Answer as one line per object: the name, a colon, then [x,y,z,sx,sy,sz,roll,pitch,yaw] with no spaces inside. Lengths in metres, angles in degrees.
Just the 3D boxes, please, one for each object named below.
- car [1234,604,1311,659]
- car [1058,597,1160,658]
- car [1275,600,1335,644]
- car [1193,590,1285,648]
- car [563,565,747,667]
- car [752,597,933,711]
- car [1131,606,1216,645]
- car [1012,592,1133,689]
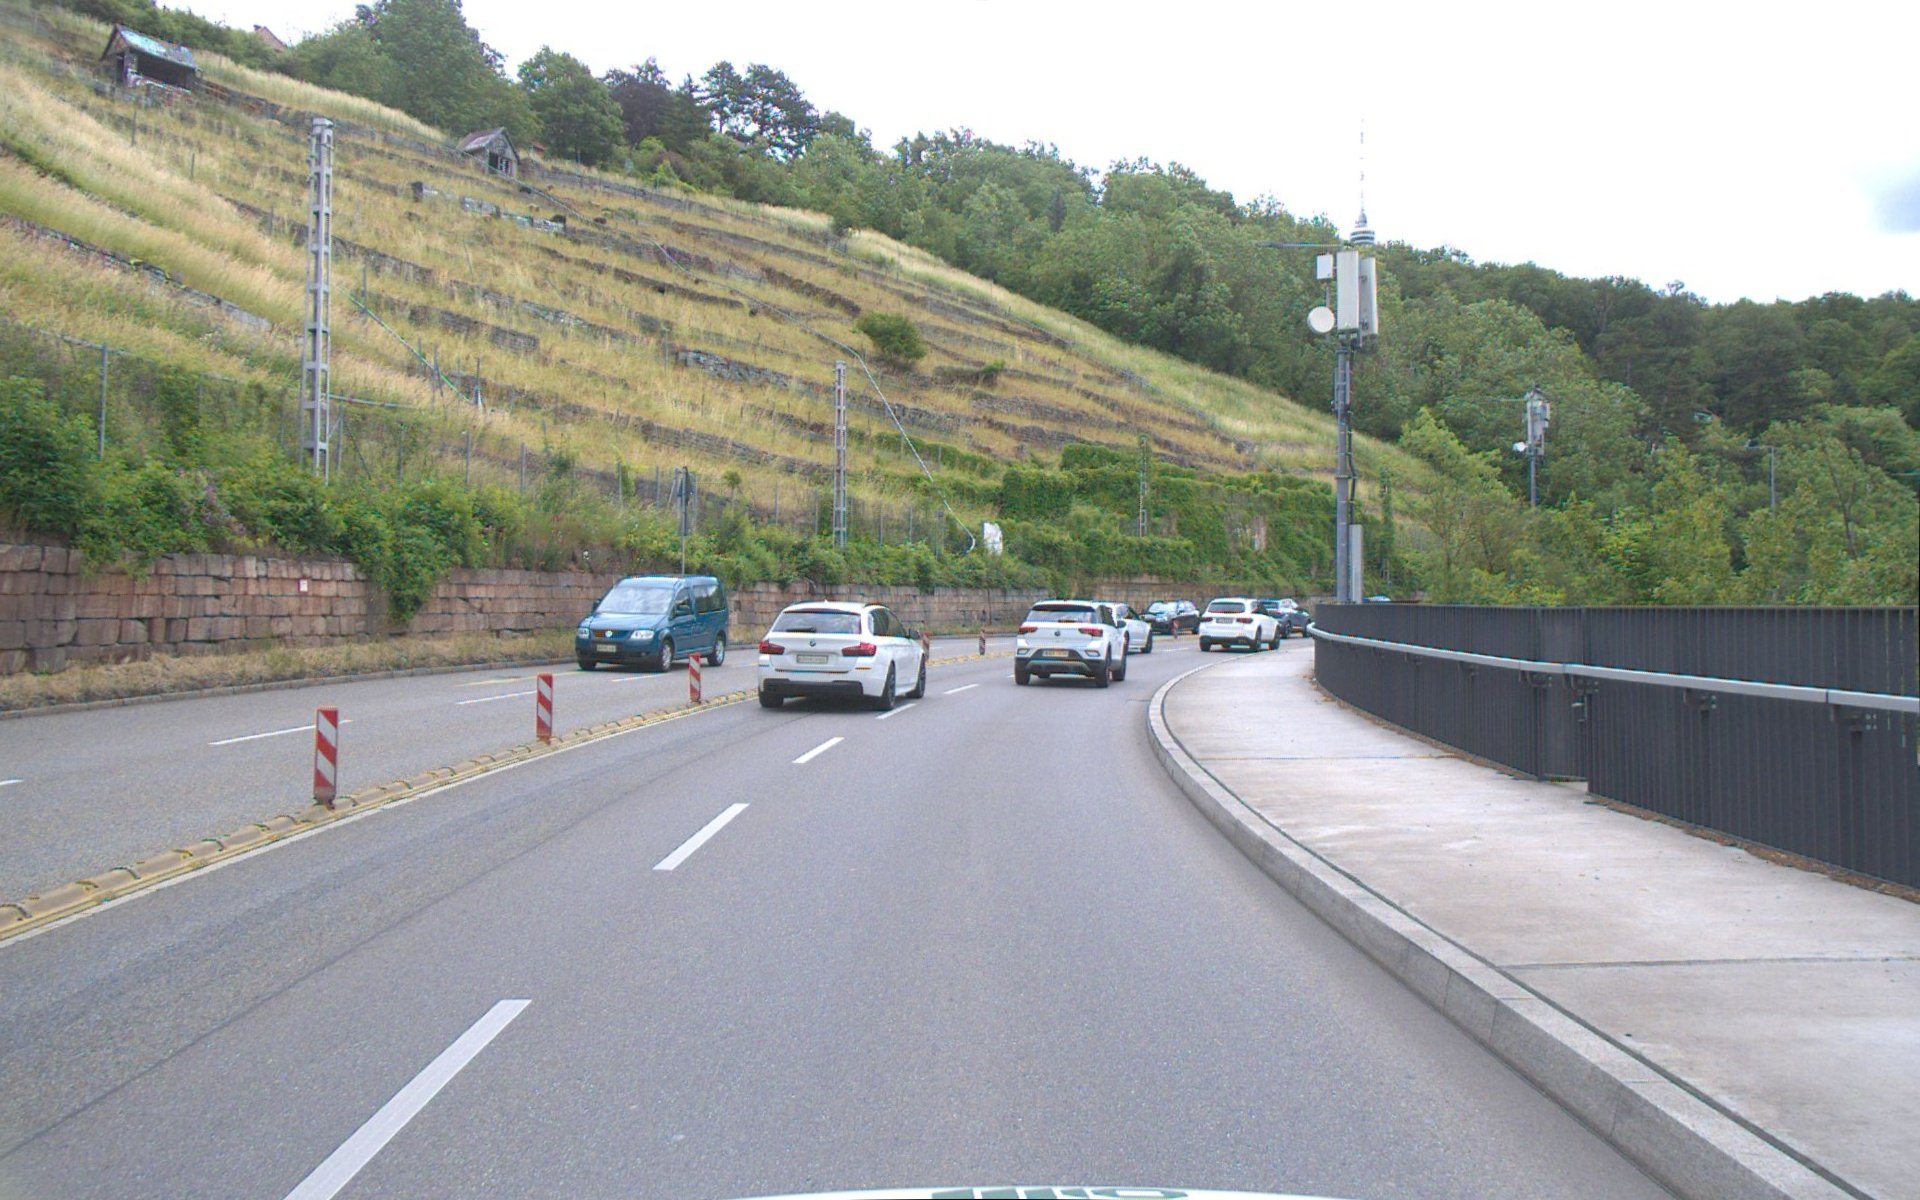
car: [12.524,1.250,66.155,1.954,2.049,3.996,-3,-2,26]
car: [4.333,0.845,47.497,1.952,1.529,4.669,-4,-3,16]
car: [15.897,1.025,76.104,1.832,1.793,3.996,-2,-4,25]
car: [8.845,0.590,52.254,1.953,1.748,4.112,-1,-1,23]
car: [-5.941,0.286,32.844,1.811,1.813,4.737,2,0,13]
car: [-1.597,0.715,24.081,1.789,1.485,4.489,0,0,7]
car: [9.124,1.052,70.417,1.819,1.438,4.401,2,2,34]
car: [2.229,0.711,31.826,1.789,1.633,4.004,2,1,11]
